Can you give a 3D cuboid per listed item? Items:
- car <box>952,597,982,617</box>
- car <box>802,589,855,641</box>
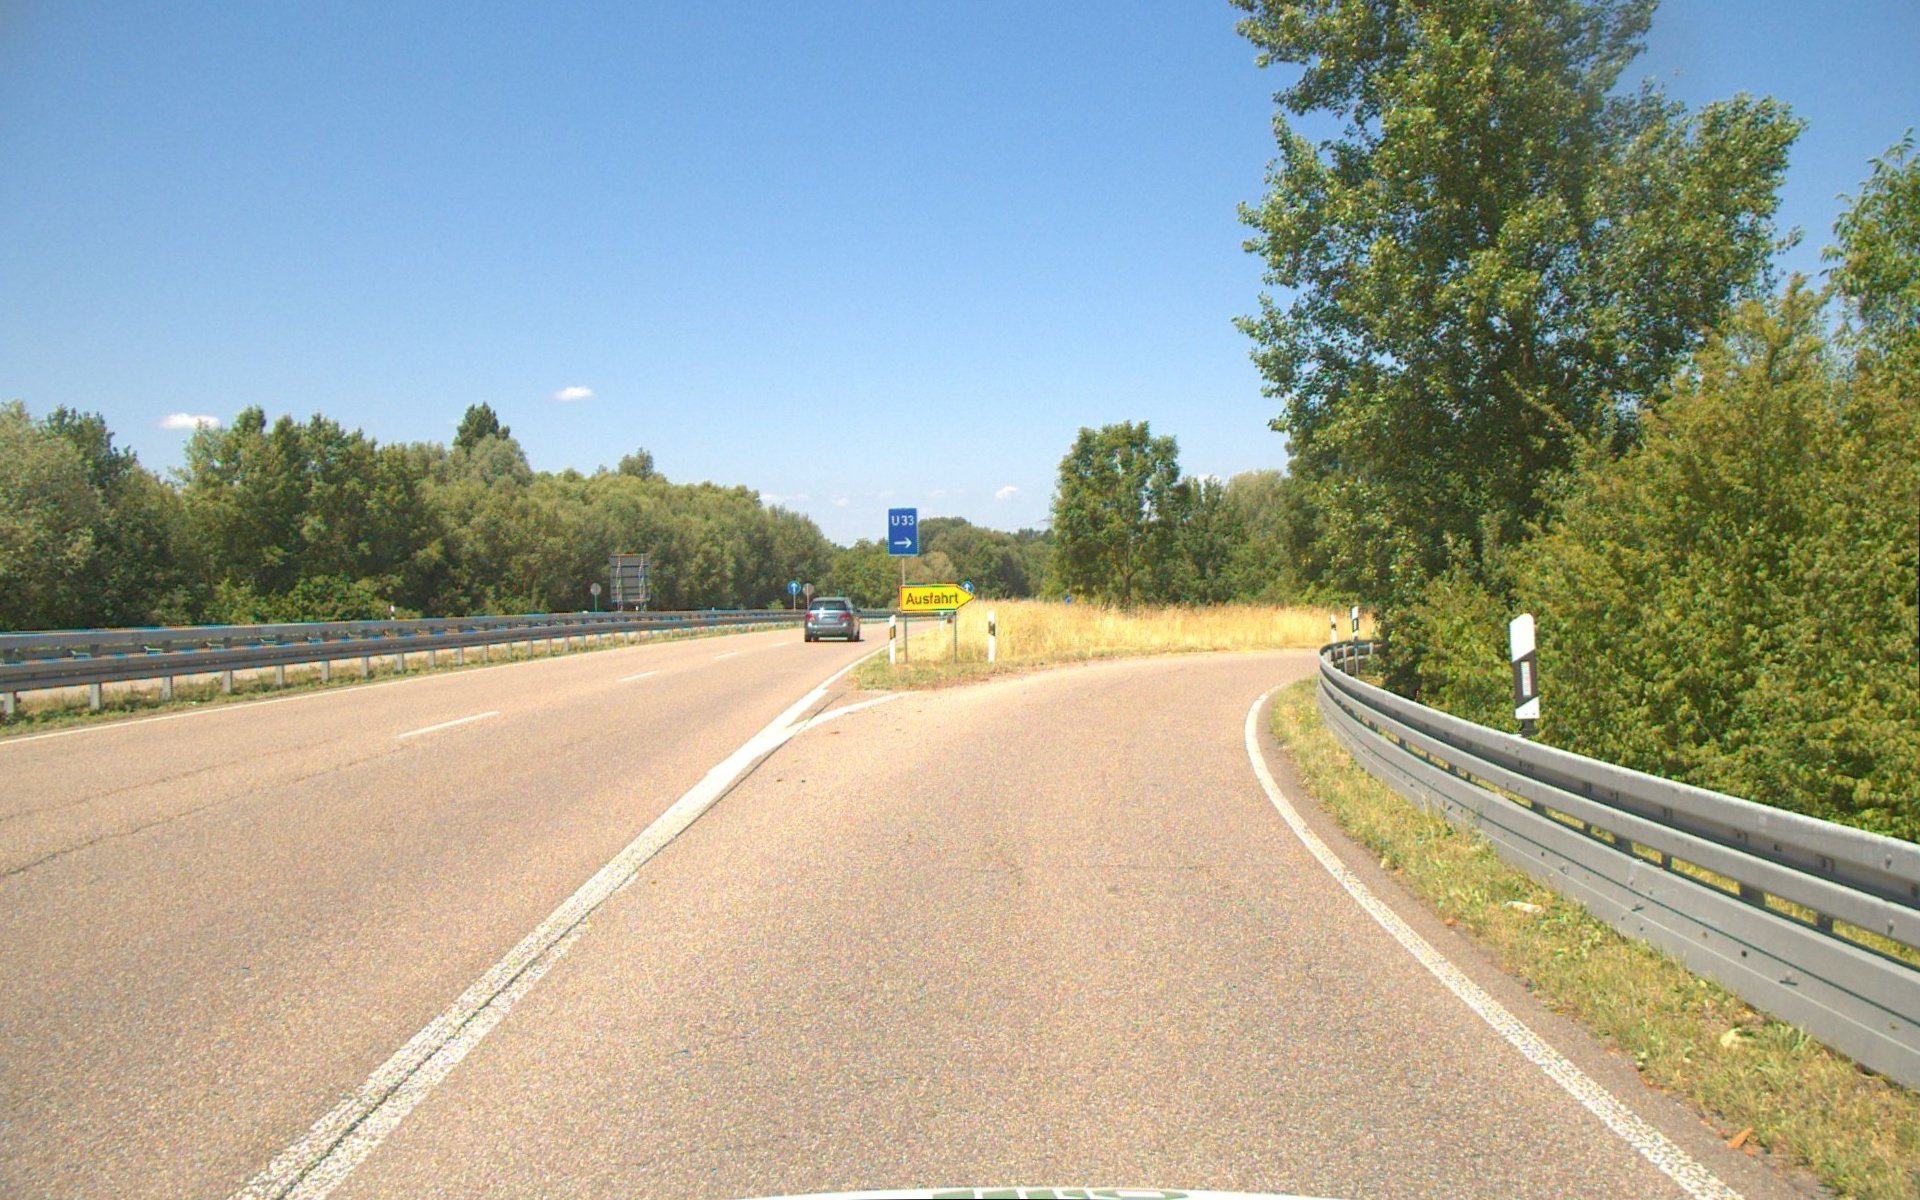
[{"bbox_3d":[0.599,0.588,141.016,1.802,1.556,4.474,1,1,11],"label":"car"},{"bbox_3d":[-4.718,0.499,59.979,1.757,1.696,4.552,2,1,-3],"label":"car"}]
